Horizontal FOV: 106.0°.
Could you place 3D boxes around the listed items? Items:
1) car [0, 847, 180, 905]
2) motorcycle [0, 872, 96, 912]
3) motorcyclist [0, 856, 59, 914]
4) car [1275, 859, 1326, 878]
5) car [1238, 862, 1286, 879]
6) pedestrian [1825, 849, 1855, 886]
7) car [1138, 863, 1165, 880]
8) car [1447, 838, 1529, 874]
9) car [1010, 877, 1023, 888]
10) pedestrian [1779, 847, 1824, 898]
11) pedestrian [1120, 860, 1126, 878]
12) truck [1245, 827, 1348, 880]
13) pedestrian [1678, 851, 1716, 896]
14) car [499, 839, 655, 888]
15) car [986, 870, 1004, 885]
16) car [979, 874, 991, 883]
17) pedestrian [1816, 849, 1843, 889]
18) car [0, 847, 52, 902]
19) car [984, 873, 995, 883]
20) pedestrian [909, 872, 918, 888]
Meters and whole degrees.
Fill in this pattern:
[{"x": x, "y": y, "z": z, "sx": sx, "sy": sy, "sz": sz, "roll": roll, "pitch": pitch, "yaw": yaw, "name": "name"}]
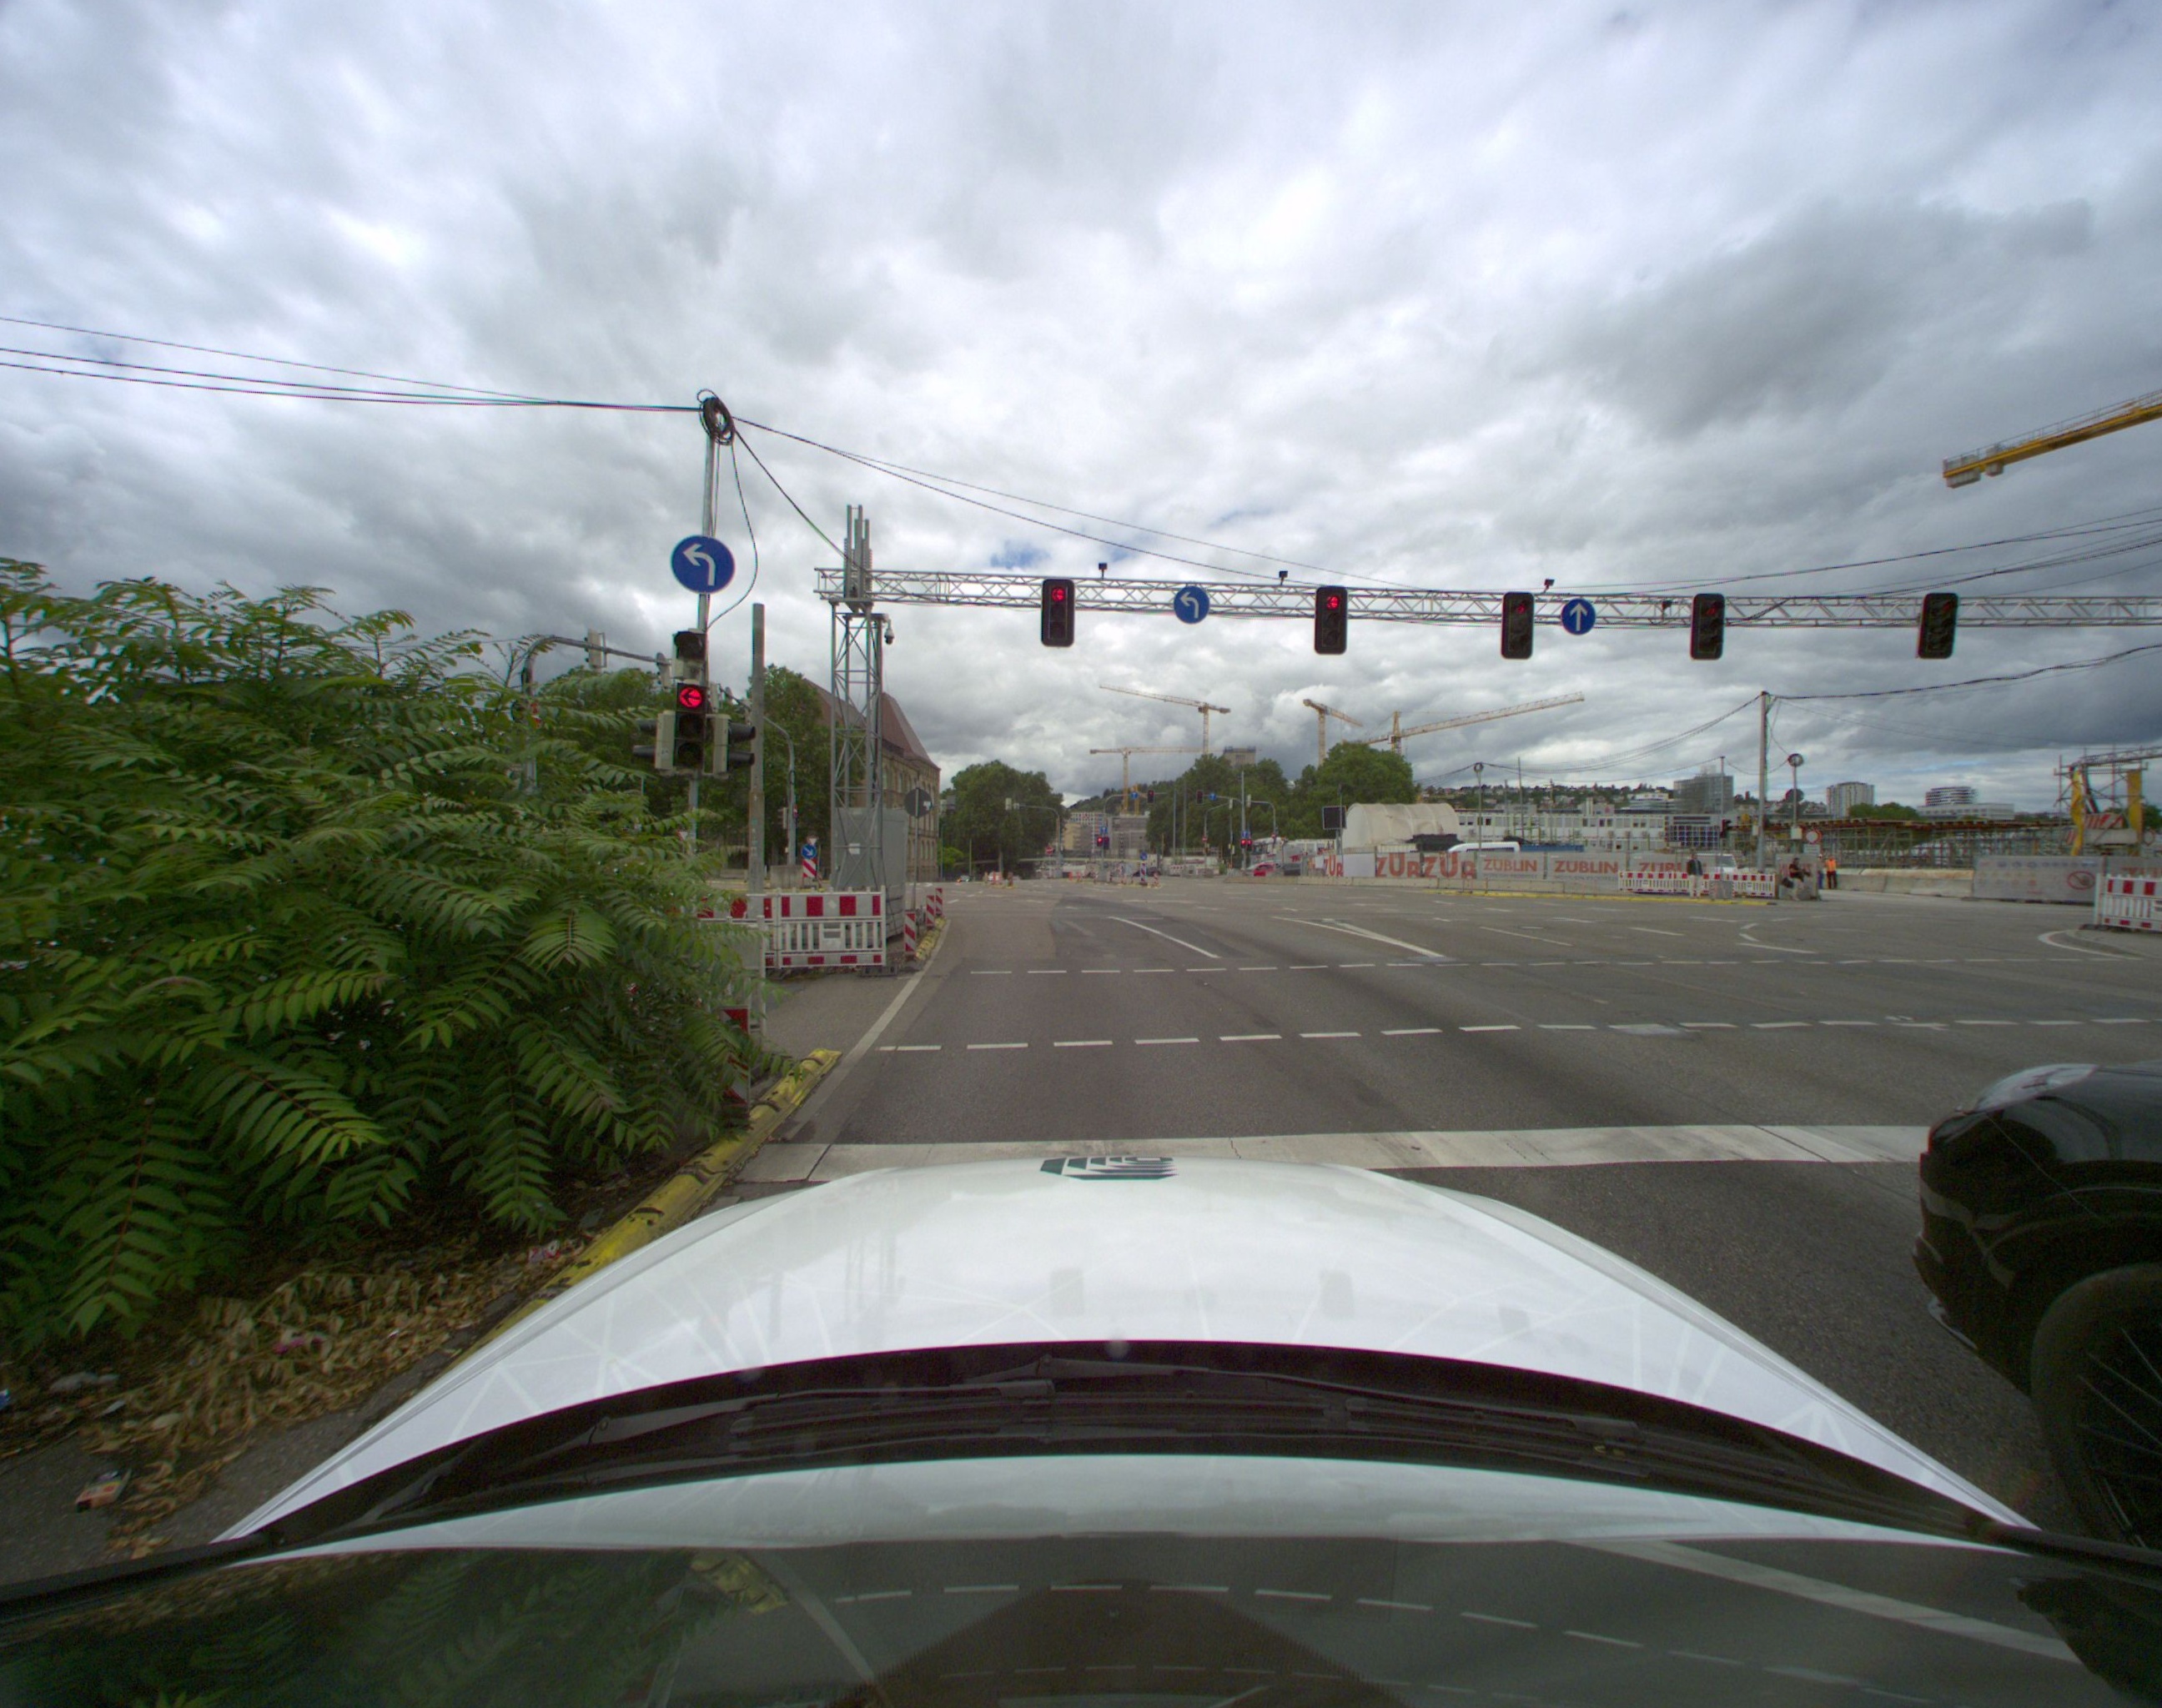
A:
[{"x": -28.372, "y": 0.598, "z": 22.745, "sx": 4.095, "sy": 1.547, "sz": 1.999, "roll": 0, "pitch": -1, "yaw": -2, "name": "car"}, {"x": -25.611, "y": 0.918, "z": 19.818, "sx": 2.342, "sy": 0.941, "sz": 0.697, "roll": 0, "pitch": -1, "yaw": -2, "name": "motorcycle"}, {"x": -25.714, "y": 0.749, "z": 19.821, "sx": 0.786, "sy": 1.380, "sz": 0.697, "roll": 0, "pitch": -1, "yaw": -2, "name": "motorcyclist"}, {"x": 20.337, "y": 1.315, "z": 75.490, "sx": 4.176, "sy": 1.701, "sz": 1.955, "roll": 0, "pitch": -1, "yaw": -18, "name": "car"}, {"x": 15.795, "y": 1.428, "z": 71.109, "sx": 3.820, "sy": 1.386, "sz": 1.792, "roll": 0, "pitch": -1, "yaw": -20, "name": "car"}, {"x": 39.105, "y": 0.687, "z": 41.972, "sx": 0.677, "sy": 1.916, "sz": 0.865, "roll": 0, "pitch": -1, "yaw": -4, "name": "pedestrian"}, {"x": 8.590, "y": 2.104, "z": 99.438, "sx": 1.998, "sy": 2.014, "sz": 3.978, "roll": 0, "pitch": -1, "yaw": -16, "name": "car"}, {"x": 23.467, "y": 0.120, "z": 47.093, "sx": 3.955, "sy": 2.014, "sz": 2.009, "roll": -1, "pitch": -1, "yaw": 17, "name": "car"}, {"x": -11.532, "y": 5.007, "z": 145.093, "sx": 1.987, "sy": 1.838, "sz": 3.998, "roll": 0, "pitch": -1, "yaw": -1, "name": "car"}, {"x": 28.791, "y": 0.740, "z": 32.571, "sx": 1.034, "sy": 2.014, "sz": 1.040, "roll": -1, "pitch": -1, "yaw": 22, "name": "pedestrian"}, {"x": 4.217, "y": 1.480, "z": 82.014, "sx": 0.583, "sy": 1.840, "sz": 0.604, "roll": 0, "pitch": -1, "yaw": -2, "name": "pedestrian"}, {"x": 21.159, "y": -0.050, "z": 79.973, "sx": 9.745, "sy": 4.961, "sz": 3.093, "roll": 0, "pitch": -1, "yaw": -19, "name": "truck"}, {"x": 25.714, "y": 0.813, "z": 34.032, "sx": 1.035, "sy": 1.848, "sz": 0.794, "roll": -1, "pitch": -1, "yaw": 17, "name": "pedestrian"}, {"x": -18.607, "y": 0.340, "z": 30.266, "sx": 4.486, "sy": 1.759, "sz": 1.995, "roll": 0, "pitch": -1, "yaw": -8, "name": "car"}, {"x": -11.558, "y": 3.167, "z": 109.720, "sx": 1.987, "sy": 1.838, "sz": 3.998, "roll": 0, "pitch": -1, "yaw": -1, "name": "car"}, {"x": -19.877, "y": 5.100, "z": 168.583, "sx": 1.987, "sy": 1.838, "sz": 3.998, "roll": 0, "pitch": -1, "yaw": -1, "name": "car"}, {"x": 38.287, "y": 0.745, "z": 41.650, "sx": 0.673, "sy": 2.014, "sz": 0.869, "roll": -1, "pitch": -1, "yaw": 14, "name": "pedestrian"}, {"x": -32.785, "y": 0.595, "z": 23.264, "sx": 4.095, "sy": 1.547, "sz": 1.999, "roll": 0, "pitch": -1, "yaw": -2, "name": "car"}, {"x": -19.601, "y": 5.149, "z": 175.116, "sx": 1.987, "sy": 1.838, "sz": 3.998, "roll": 0, "pitch": -1, "yaw": -1, "name": "car"}, {"x": -21.704, "y": 3.332, "z": 105.767, "sx": 0.946, "sy": 2.014, "sz": 0.767, "roll": 0, "pitch": -1, "yaw": 3, "name": "pedestrian"}]
